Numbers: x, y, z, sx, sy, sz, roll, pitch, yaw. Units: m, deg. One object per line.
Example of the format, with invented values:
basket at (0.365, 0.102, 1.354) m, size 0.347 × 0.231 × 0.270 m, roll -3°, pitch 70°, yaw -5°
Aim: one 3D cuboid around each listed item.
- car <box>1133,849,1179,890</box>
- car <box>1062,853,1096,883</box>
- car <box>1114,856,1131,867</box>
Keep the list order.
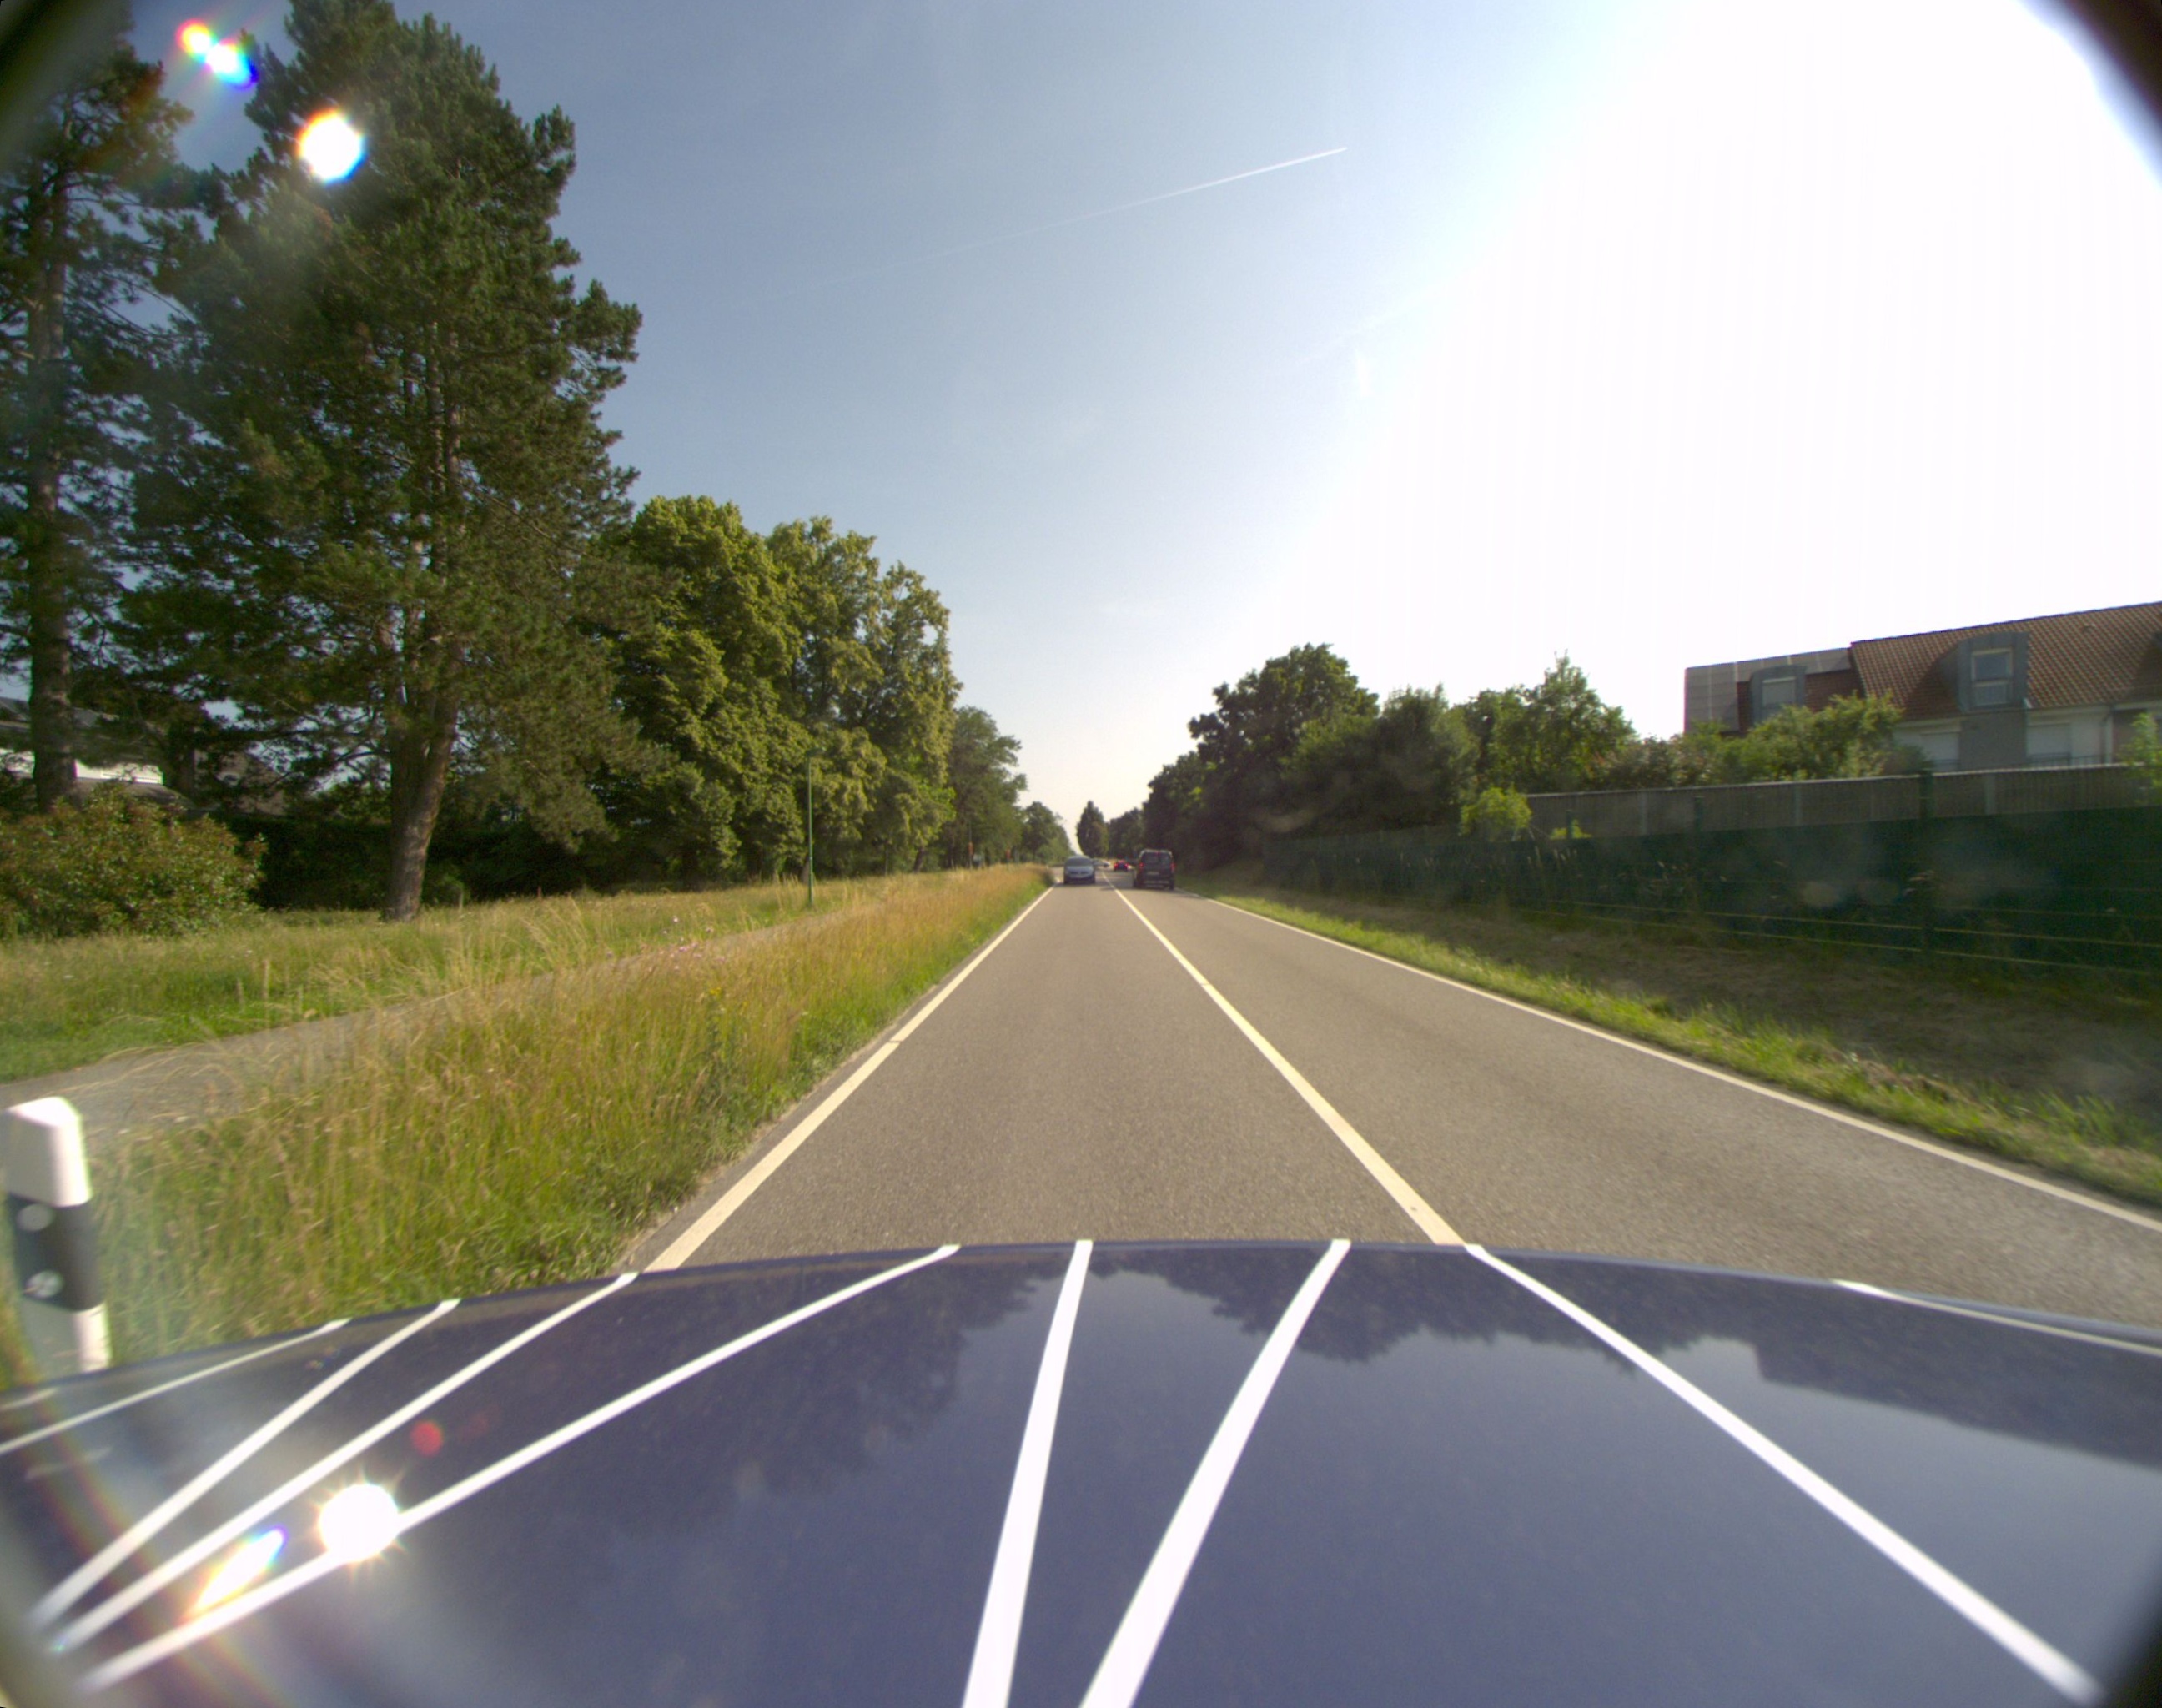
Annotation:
car at (3.491, 0.677, 36.174) m, size 1.944 × 1.807 × 4.242 m, roll 1°, pitch 0°, yaw 3°
car at (-0.088, 0.764, 43.113) m, size 1.808 × 1.592 × 4.269 m, roll -1°, pitch 0°, yaw 0°
car at (5.391, 0.957, 99.635) m, size 1.875 × 1.415 × 4.576 m, roll 1°, pitch 0°, yaw 0°
